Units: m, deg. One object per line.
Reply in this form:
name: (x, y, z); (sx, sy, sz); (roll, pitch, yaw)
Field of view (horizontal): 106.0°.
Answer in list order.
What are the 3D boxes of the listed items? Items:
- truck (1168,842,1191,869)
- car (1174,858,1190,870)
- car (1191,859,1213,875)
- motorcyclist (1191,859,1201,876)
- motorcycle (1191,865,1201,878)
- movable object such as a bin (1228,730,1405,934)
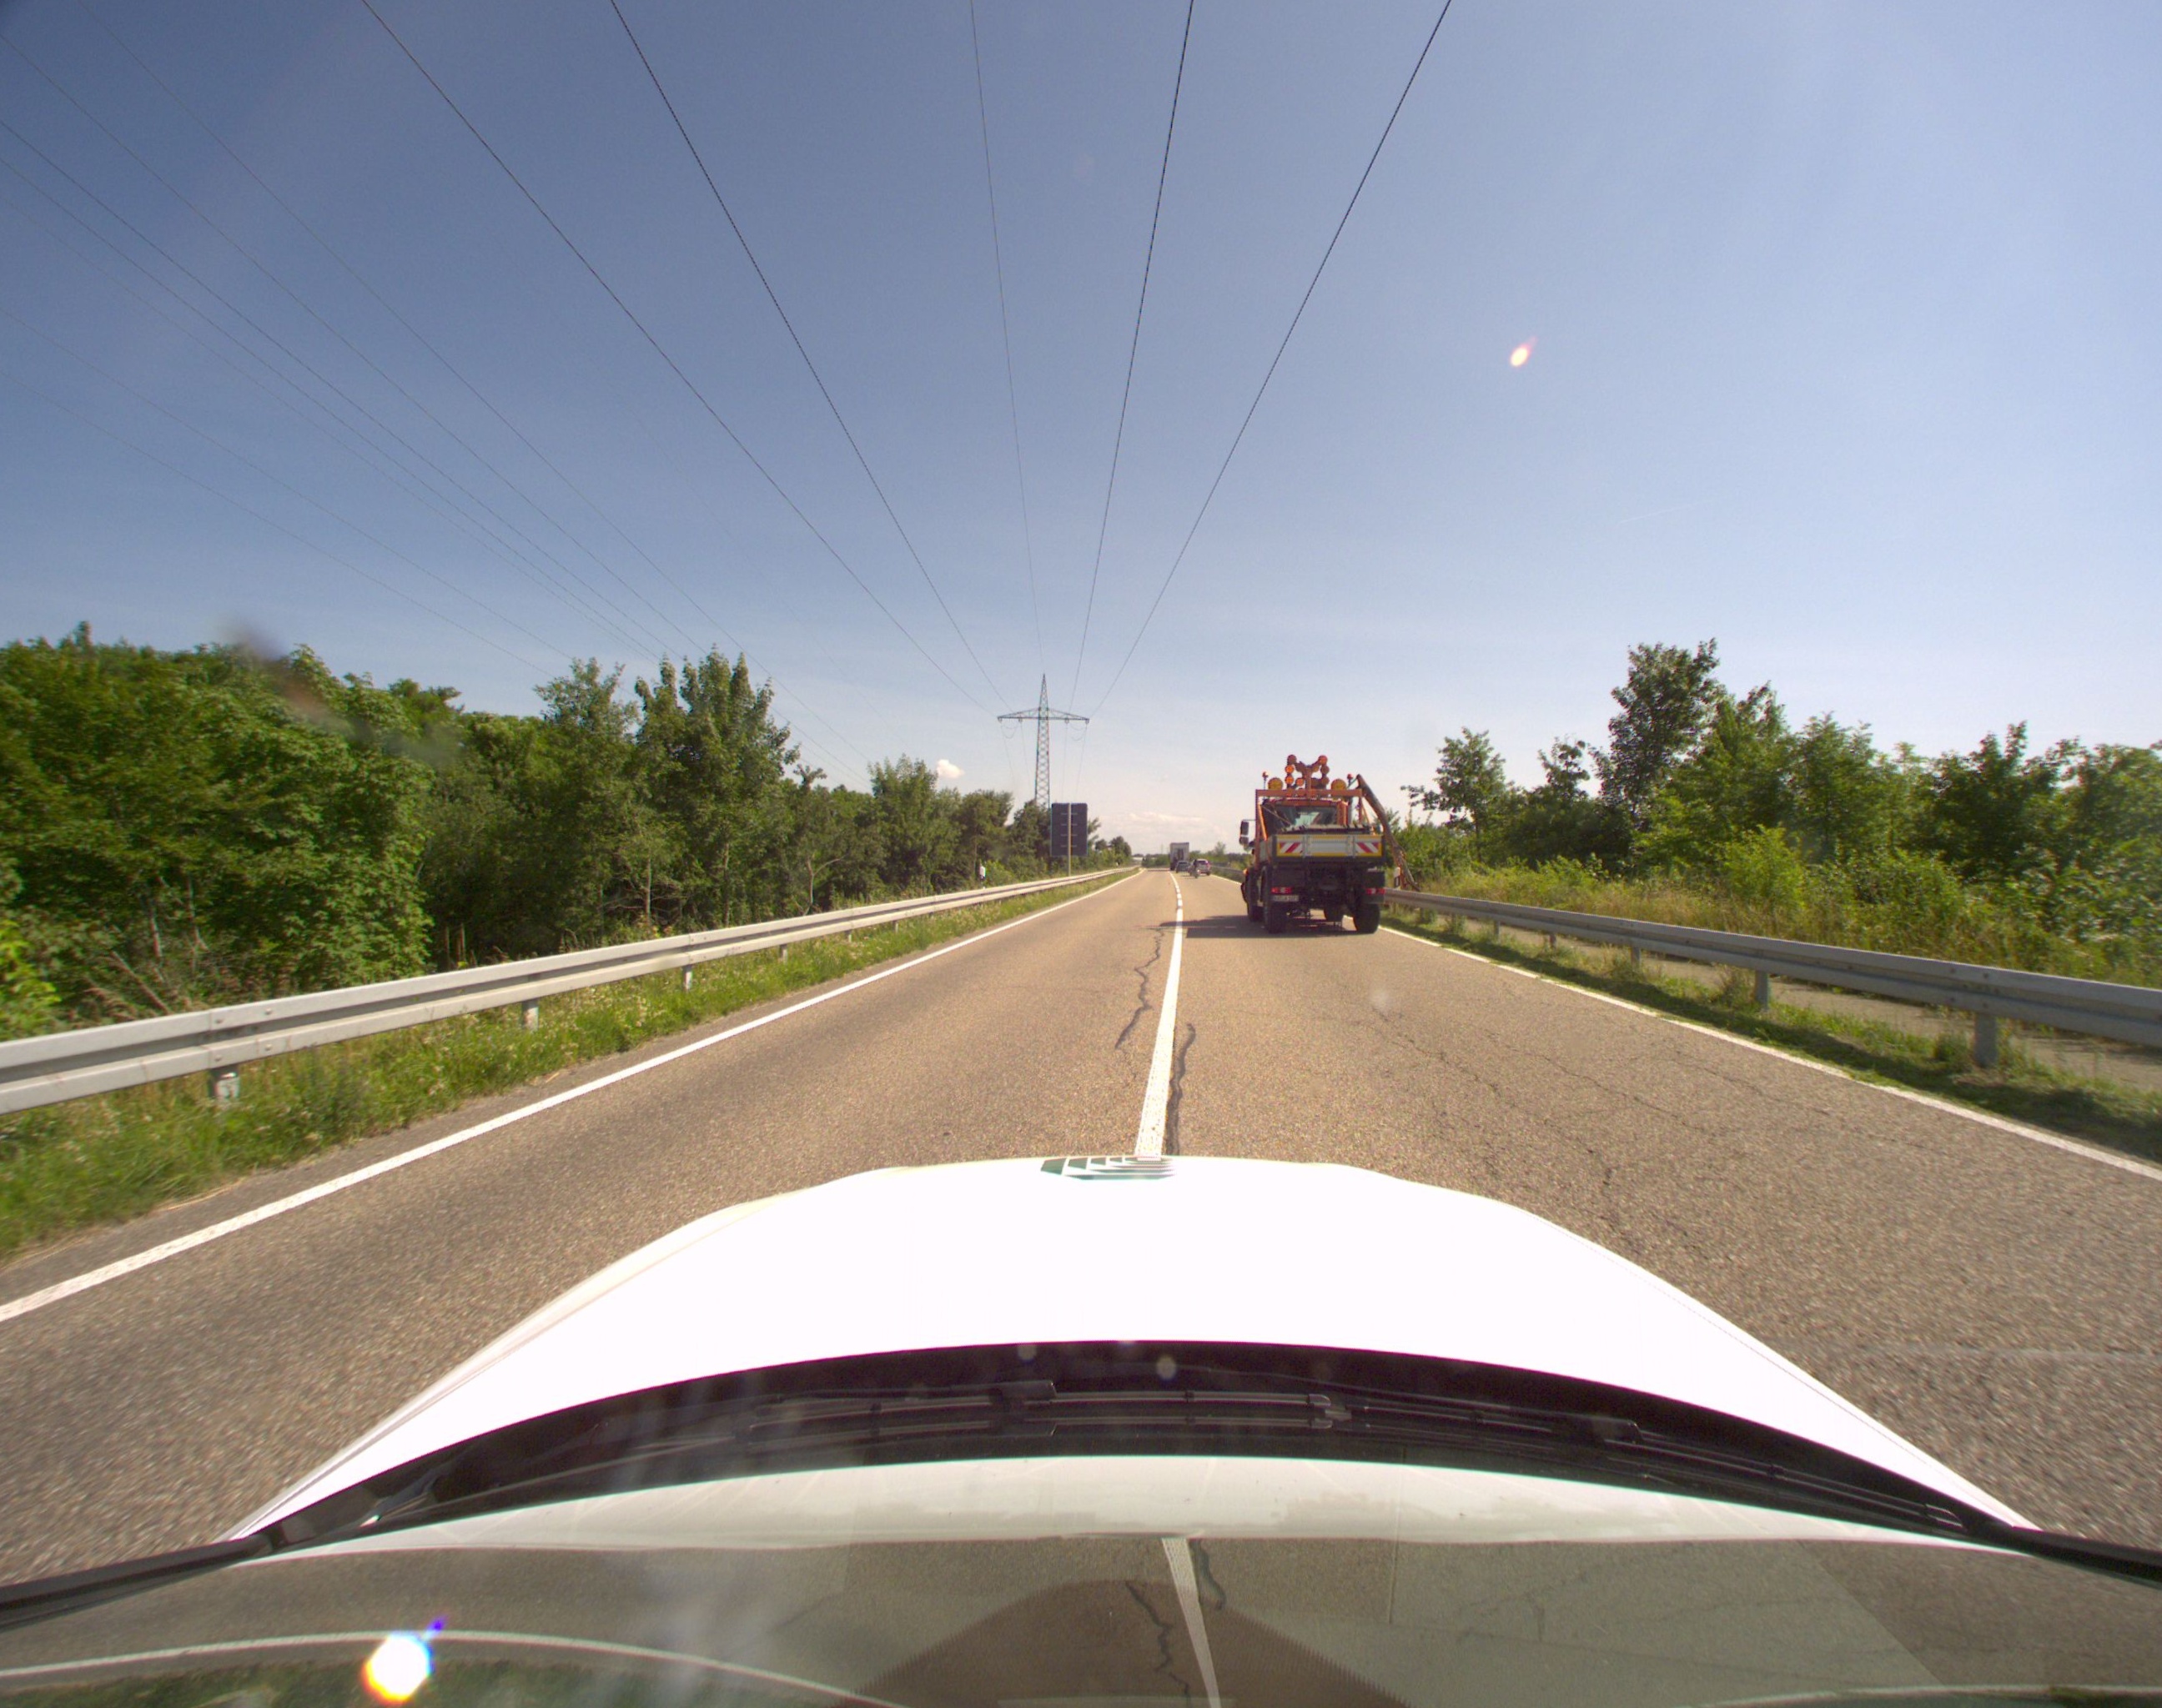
truck: (14.823, 0.292, 122.911); (3.224, 3.979, 9.461); (0, -1, 7)
car: (12.335, 1.208, 99.701); (1.856, 1.420, 4.007); (0, 0, 6)
car: (11.424, 1.186, 77.112); (1.816, 1.451, 4.007); (0, 0, 6)
motorcyclist: (9.323, 1.099, 66.109); (0.776, 1.325, 0.814); (0, 0, 6)
motorcycle: (9.313, 1.415, 66.087); (0.776, 0.975, 2.366); (0, 0, 7)
movable object such as a bin: (5.305, -0.390, 20.145); (2.738, 3.839, 9.464); (0, 0, 7)
